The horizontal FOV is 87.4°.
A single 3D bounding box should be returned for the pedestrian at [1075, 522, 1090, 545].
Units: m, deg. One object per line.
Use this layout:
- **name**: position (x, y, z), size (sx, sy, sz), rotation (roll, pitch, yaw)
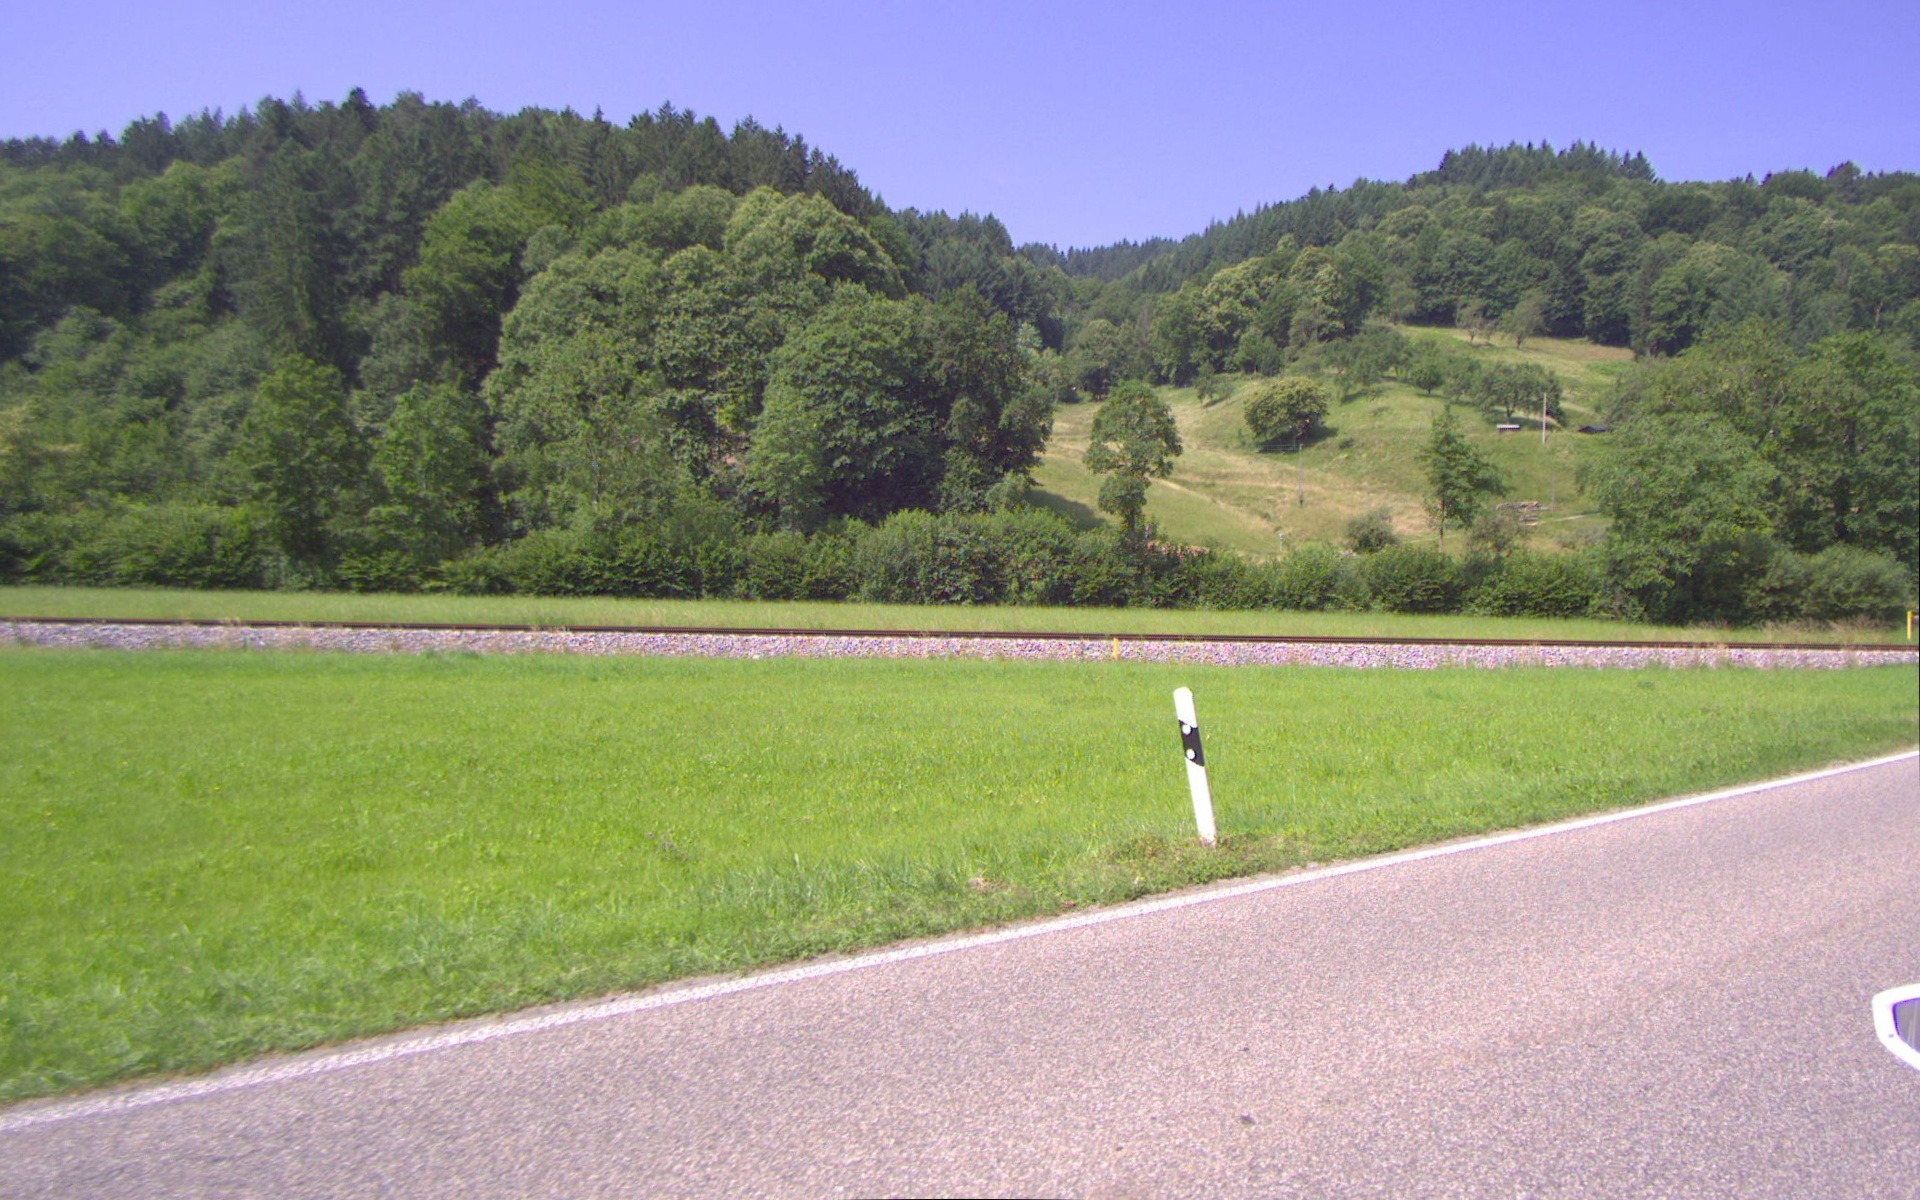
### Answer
- **pedestrian**: position (13.093, -7.115, 107.244), size (1.062, 2.398, 1.072), rotation (0, 1, -35)
